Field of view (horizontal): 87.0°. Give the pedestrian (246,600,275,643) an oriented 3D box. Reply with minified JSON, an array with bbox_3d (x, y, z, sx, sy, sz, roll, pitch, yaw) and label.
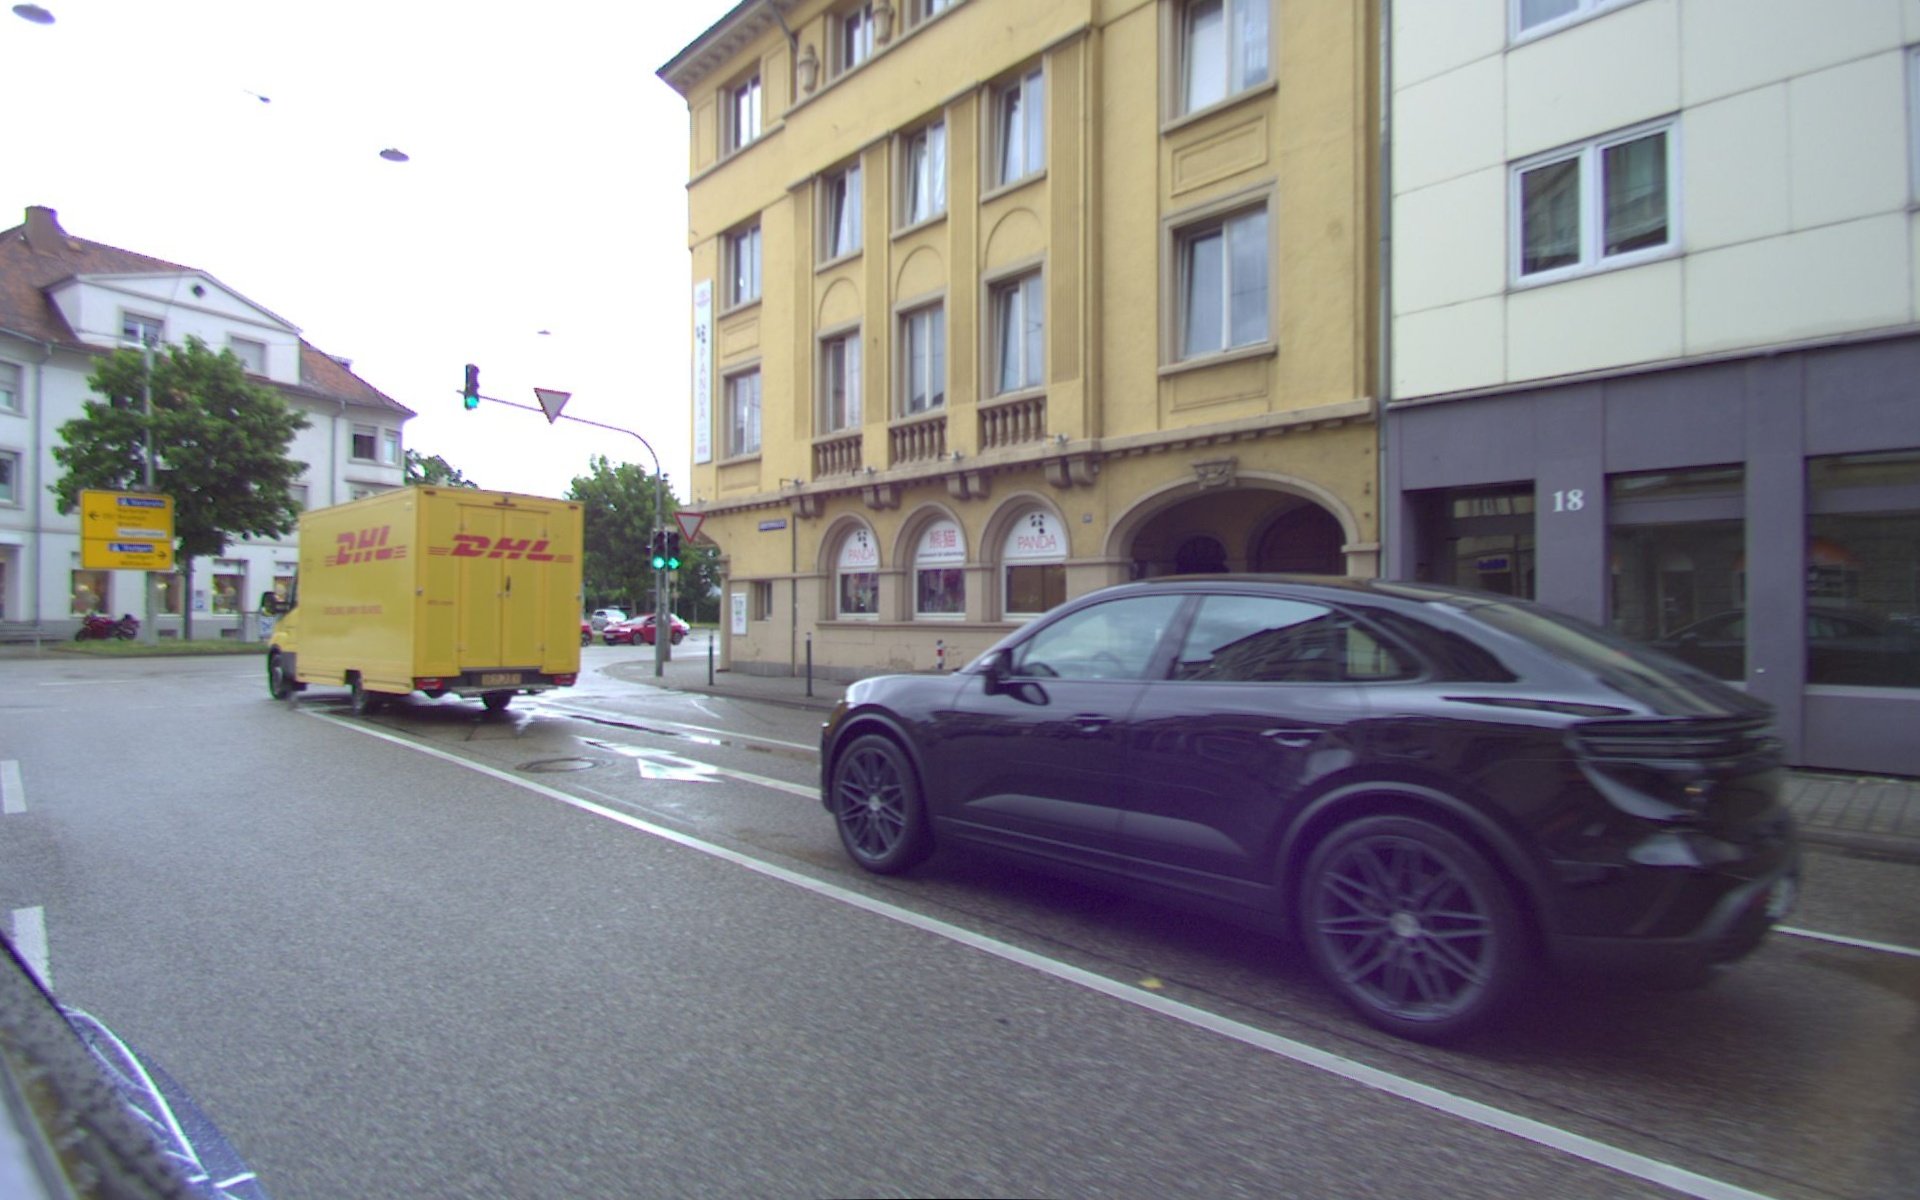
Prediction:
[{"bbox_3d":[-28.999,0.891,41.941,0.680,1.742,0.747,0,-1,31],"label":"pedestrian"}]

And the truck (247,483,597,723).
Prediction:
[{"bbox_3d":[-8.152,0.048,14.851,7.022,2.771,2.204,0,-1,42],"label":"truck"}]

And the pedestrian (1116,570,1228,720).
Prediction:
[{"bbox_3d":[2.688,0.533,12.837,1.033,1.784,0.883,0,3,44],"label":"pedestrian"}]

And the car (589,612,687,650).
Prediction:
[{"bbox_3d":[-14.598,1.386,46.045,2.015,1.596,4.001,0,-1,27],"label":"car"}]

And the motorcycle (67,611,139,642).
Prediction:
[{"bbox_3d":[-32.965,1.007,38.946,0.716,1.157,1.993,0,-1,28],"label":"motorcycle"}]

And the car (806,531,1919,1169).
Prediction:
[{"bbox_3d":[1.410,0.639,4.873,1.920,1.595,4.609,2,-1,-44],"label":"car"}]
